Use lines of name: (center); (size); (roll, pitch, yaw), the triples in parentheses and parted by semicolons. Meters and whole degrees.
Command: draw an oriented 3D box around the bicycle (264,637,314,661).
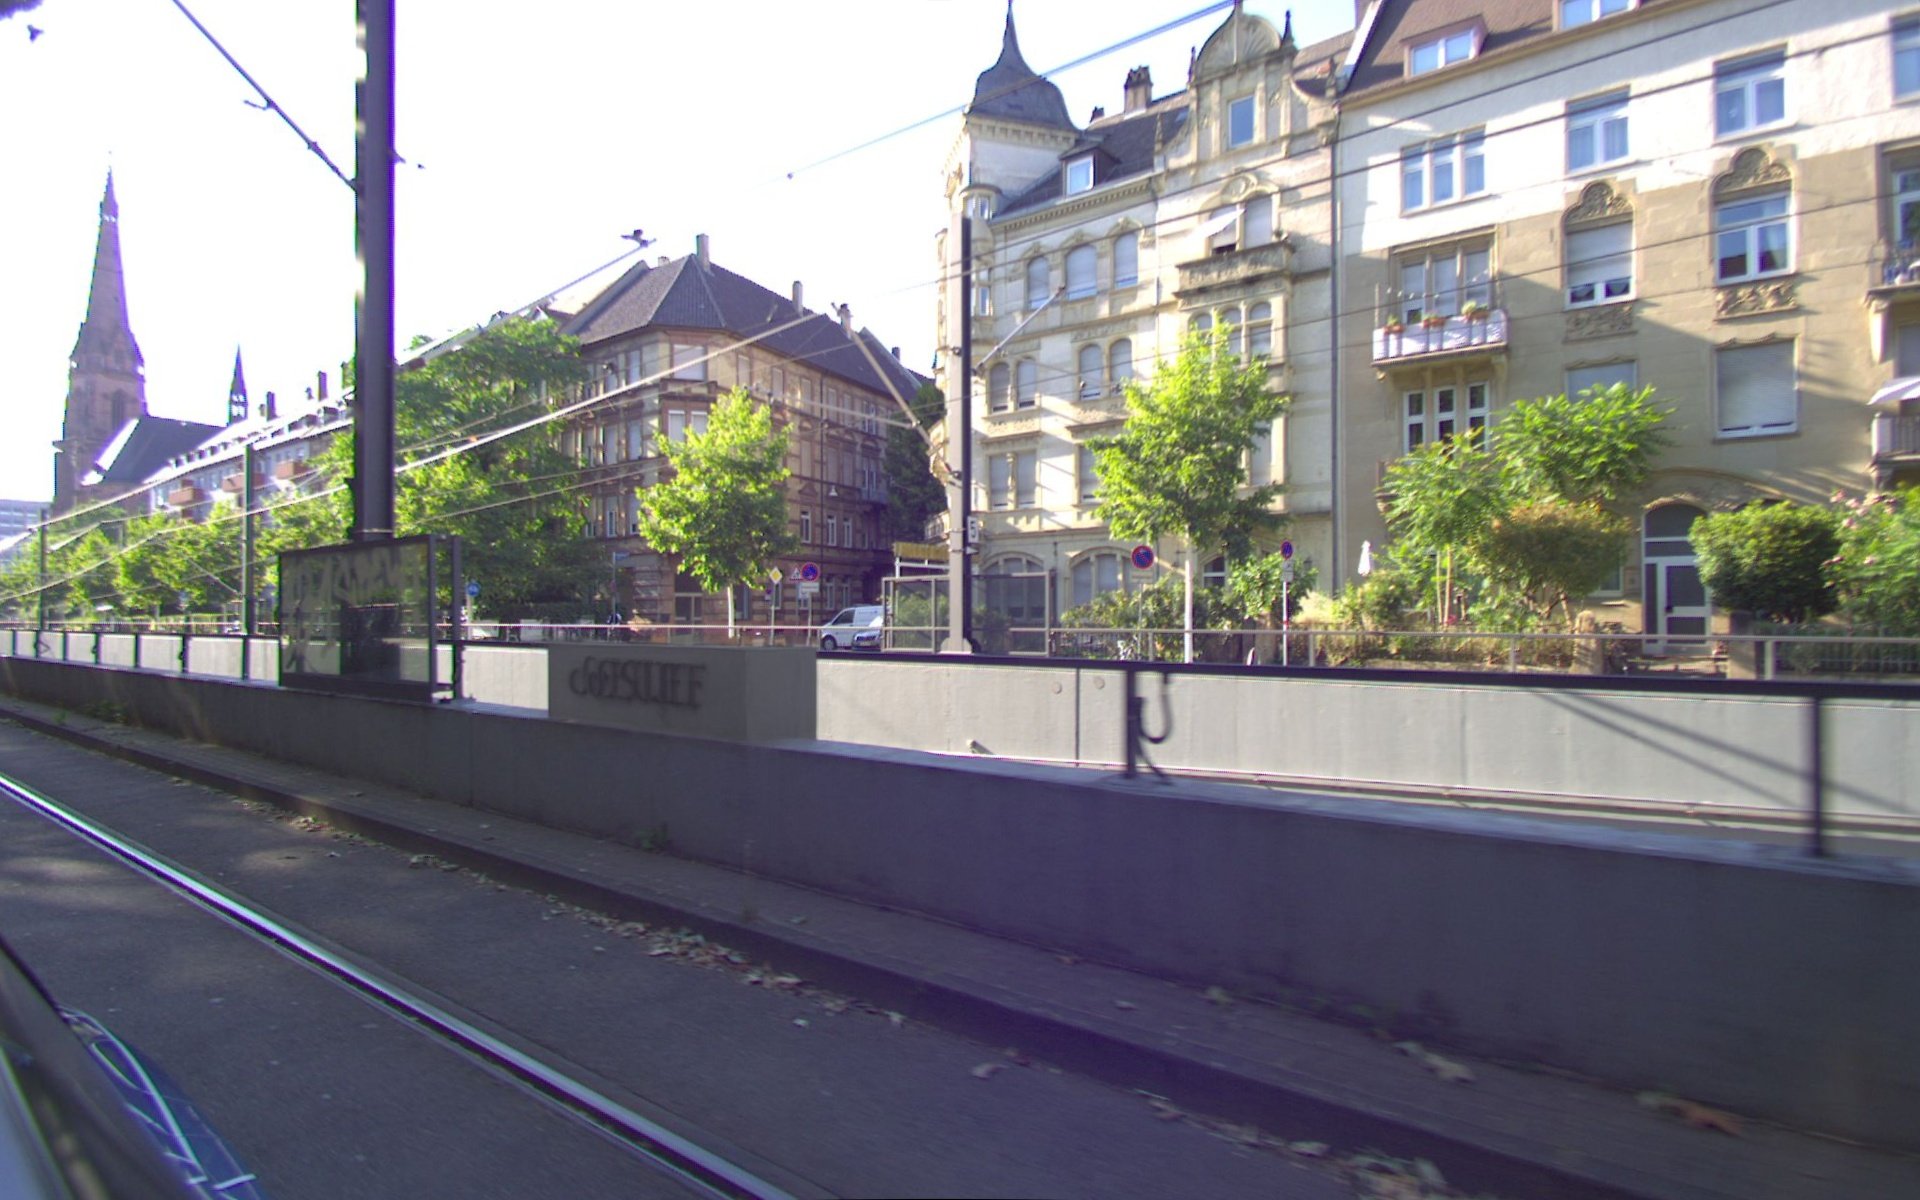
bicycle: (-36.643, 2.649, 55.311); (0.635, 1.107, 2.782); (-2, 0, 6)

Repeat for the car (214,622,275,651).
car: (-42.642, 2.177, 60.286); (3.992, 1.597, 1.816); (-2, 0, 37)

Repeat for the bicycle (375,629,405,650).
bicycle: (-30.739, 2.124, 54.535); (2.373, 1.107, 0.550); (-1, 0, 39)

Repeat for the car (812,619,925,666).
car: (-3.930, 1.823, 43.449); (4.457, 1.863, 1.982); (-2, 0, 27)

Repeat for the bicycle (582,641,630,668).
bicycle: (-14.892, 2.291, 42.599); (1.921, 1.012, 0.454); (2, 1, 8)

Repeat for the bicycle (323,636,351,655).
bicycle: (-32.363, 2.372, 52.547); (0.533, 0.912, 1.266); (-2, 0, 8)

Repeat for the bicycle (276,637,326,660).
bicycle: (-35.958, 2.627, 55.274); (0.635, 1.107, 2.782); (-2, 0, 6)

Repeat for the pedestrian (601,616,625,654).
pedestrian: (-16.023, 1.598, 46.702); (0.865, 1.701, 0.711); (-2, 0, 44)

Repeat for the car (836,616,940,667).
car: (-2.487, 1.427, 36.080); (1.817, 1.636, 3.960); (-1, -1, 29)

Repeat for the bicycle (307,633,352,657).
bicycle: (-32.903, 2.350, 52.855); (0.550, 1.107, 2.370); (-2, 0, 8)

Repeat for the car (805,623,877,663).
car: (-6.436, 2.316, 55.196); (1.986, 1.863, 4.414); (-2, 0, 22)

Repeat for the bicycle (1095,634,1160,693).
bicycle: (3.866, 1.437, 23.286); (0.600, 1.289, 1.711); (-2, -2, 44)
